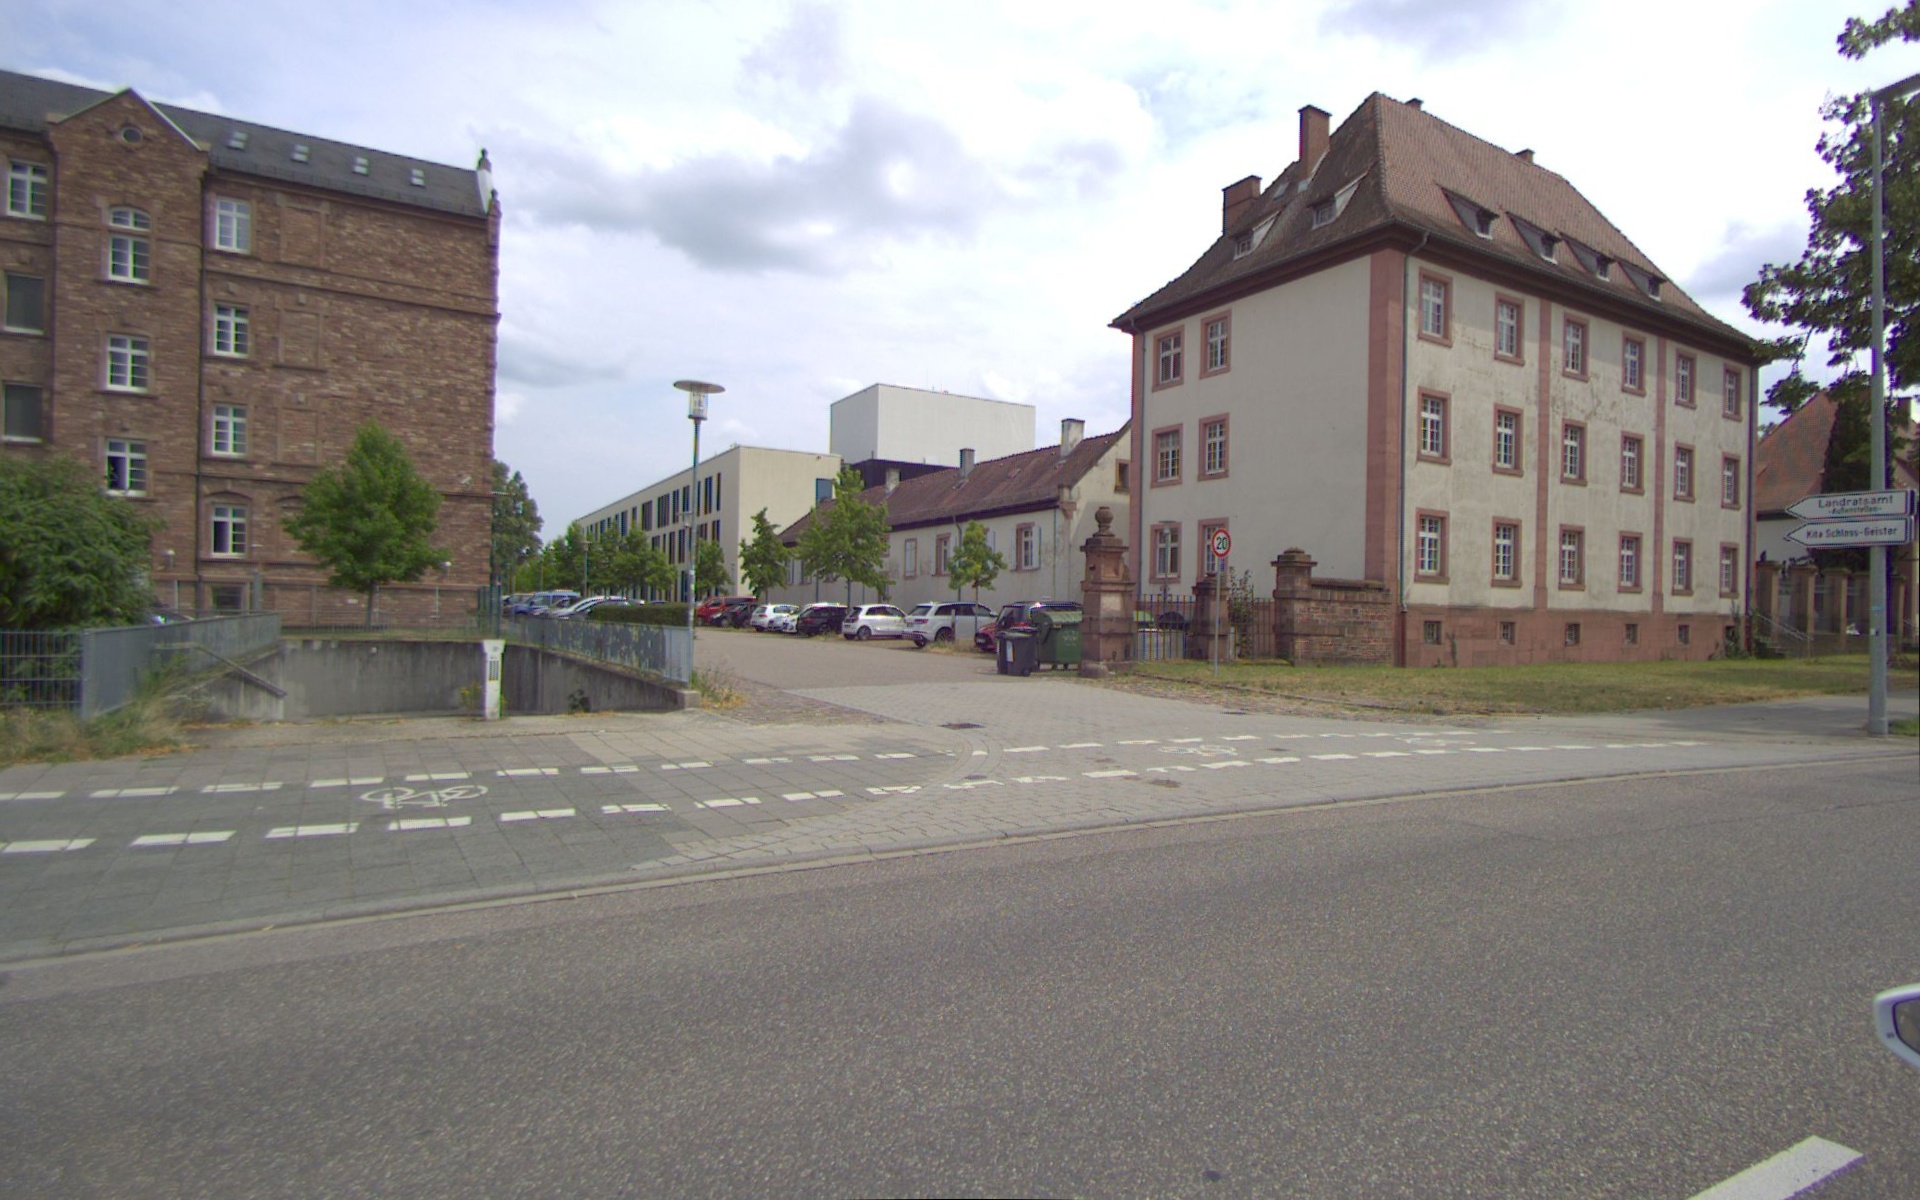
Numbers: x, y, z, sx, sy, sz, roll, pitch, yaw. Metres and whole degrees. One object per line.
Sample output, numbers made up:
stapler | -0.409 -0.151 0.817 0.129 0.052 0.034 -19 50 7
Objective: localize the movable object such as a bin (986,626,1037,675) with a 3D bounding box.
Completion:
movable object such as a bin | 1.149 1.120 22.490 0.701 1.047 1.033 2 -1 -29

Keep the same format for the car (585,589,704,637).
car | -11.966 0.517 38.129 4.116 1.733 1.577 1 -1 -29

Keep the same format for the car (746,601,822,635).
car | -9.495 0.960 54.285 3.652 1.734 1.759 -1 0 -30

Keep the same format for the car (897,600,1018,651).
car | -0.085 0.929 37.740 4.239 1.734 1.759 -1 0 -30

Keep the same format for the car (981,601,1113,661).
car | 2.787 0.937 31.968 3.910 1.734 1.759 -1 0 -30

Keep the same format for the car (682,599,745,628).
car | -15.764 0.867 64.315 3.652 1.734 1.576 -1 0 -30

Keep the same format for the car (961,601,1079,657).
car | 2.050 0.955 34.335 3.652 1.734 1.759 -1 0 -30

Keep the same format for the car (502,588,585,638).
car | -23.444 0.730 56.554 4.118 2.749 1.576 1 -1 -30

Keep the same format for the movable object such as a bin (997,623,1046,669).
movable object such as a bin | 1.454 1.095 23.948 0.701 1.047 1.033 2 -1 -29

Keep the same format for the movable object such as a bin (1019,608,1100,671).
movable object such as a bin | 2.435 0.955 24.565 1.552 1.487 1.196 2 -1 -30

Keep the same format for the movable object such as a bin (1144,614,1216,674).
movable object such as a bin | 5.728 1.119 26.133 1.310 1.487 1.566 1 -1 35

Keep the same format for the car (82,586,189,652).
car | -26.531 0.650 32.489 1.853 1.963 4.486 1 -2 -29

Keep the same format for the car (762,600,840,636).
car | -8.311 0.929 52.558 3.652 1.734 1.759 -1 0 -30

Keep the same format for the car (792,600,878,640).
car | -5.897 0.915 47.585 3.652 1.734 1.759 -1 0 -30

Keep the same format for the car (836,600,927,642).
car | -3.480 0.897 44.582 3.652 1.734 1.759 -1 0 -30

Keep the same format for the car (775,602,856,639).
car | -7.246 0.995 50.505 3.652 1.734 1.759 -1 0 -30

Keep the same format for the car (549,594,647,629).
car | -16.882 0.567 46.889 4.116 1.571 1.577 1 -1 -29
